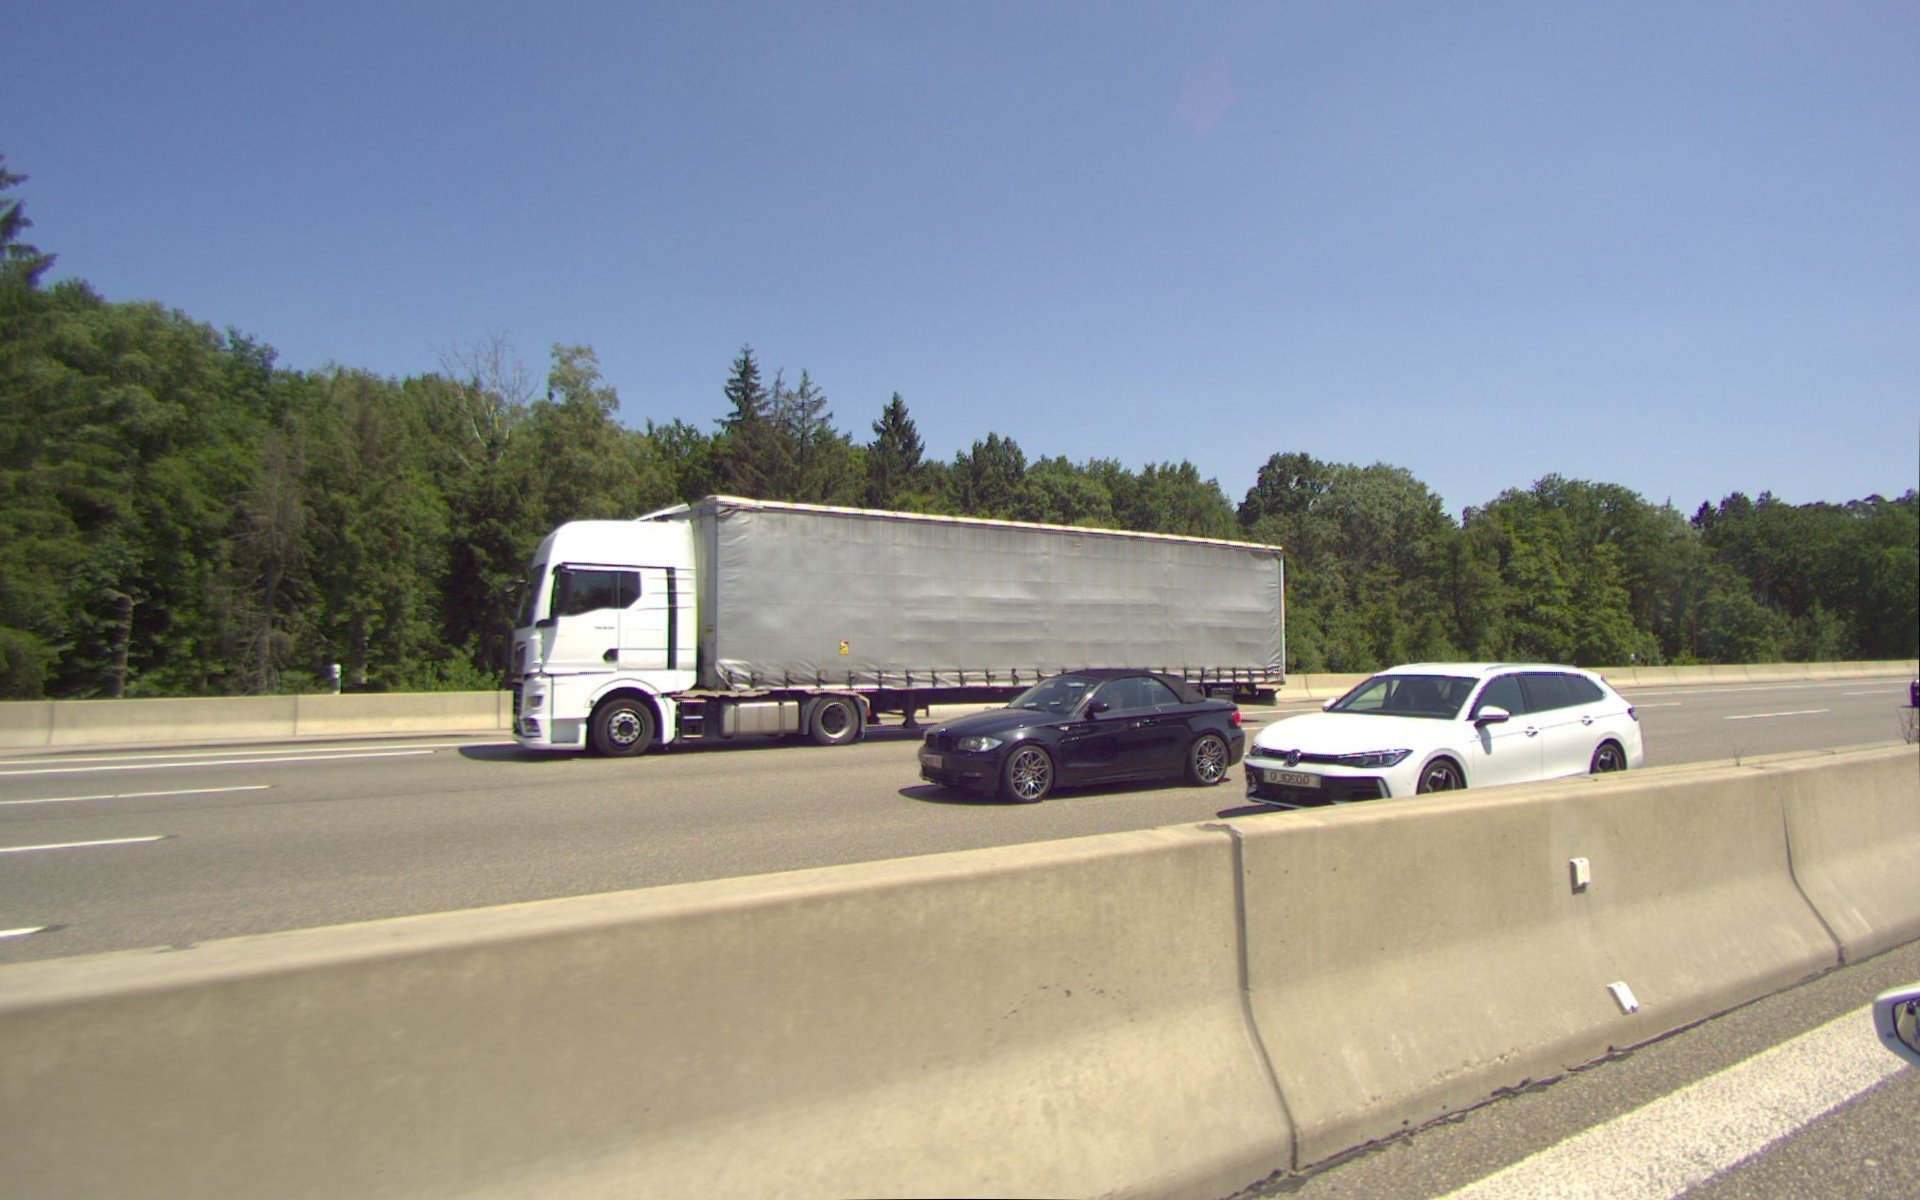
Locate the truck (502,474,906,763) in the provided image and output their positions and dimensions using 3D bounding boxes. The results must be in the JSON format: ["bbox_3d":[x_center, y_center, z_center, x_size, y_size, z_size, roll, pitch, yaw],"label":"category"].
[{"bbox_3d":[-4.402,0.437,17.656,6.304,4.275,2.747,3,-3,-30],"label":"truck"}]

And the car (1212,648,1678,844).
[{"bbox_3d":[5.161,1.329,10.448,5.155,1.570,1.837,1,-4,-31],"label":"car"}]

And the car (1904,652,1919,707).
[{"bbox_3d":[28.561,2.238,28.462,4.075,1.501,1.527,1,-1,-30],"label":"car"}]

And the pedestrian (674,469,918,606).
[{"bbox_3d":[-2.971,-1.009,18.335,3.954,2.040,1.984,3,-3,-30],"label":"pedestrian"}]

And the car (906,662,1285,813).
[{"bbox_3d":[1.761,1.529,12.244,4.671,1.461,1.540,2,-2,-31],"label":"car"}]

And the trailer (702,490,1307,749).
[{"bbox_3d":[1.662,0.635,21.338,13.560,4.301,2.742,3,-3,-31],"label":"trailer"}]
